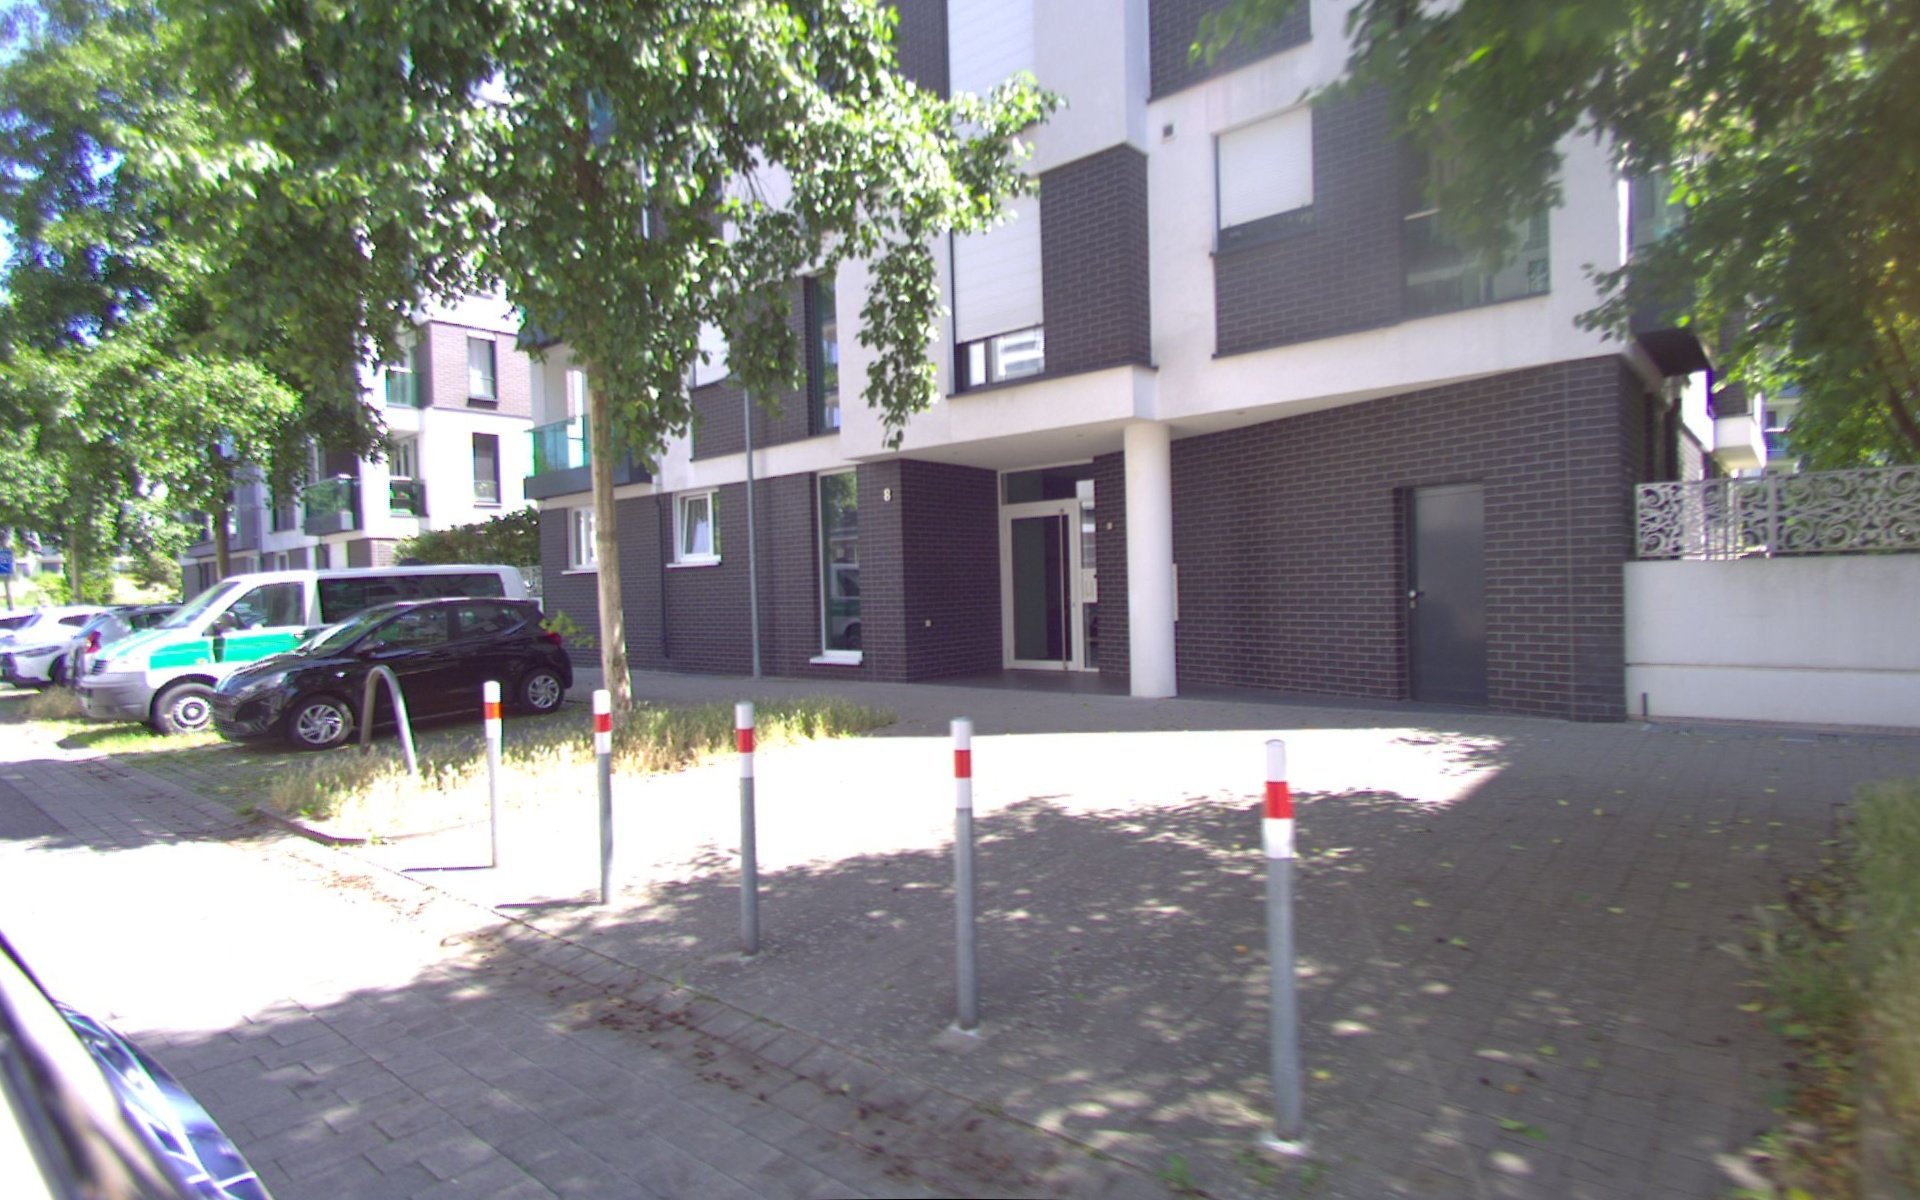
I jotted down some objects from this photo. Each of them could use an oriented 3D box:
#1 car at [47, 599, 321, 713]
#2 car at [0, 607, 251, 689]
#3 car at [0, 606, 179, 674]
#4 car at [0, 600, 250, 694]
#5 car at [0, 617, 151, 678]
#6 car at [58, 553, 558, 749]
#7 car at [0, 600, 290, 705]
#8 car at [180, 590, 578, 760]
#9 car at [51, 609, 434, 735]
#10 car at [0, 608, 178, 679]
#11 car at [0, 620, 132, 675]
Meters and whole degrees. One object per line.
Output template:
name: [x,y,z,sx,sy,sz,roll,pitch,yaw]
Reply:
car: [-14.195,0.936,18.649,1.850,1.688,3.643,-2,2,40]
car: [-19.873,1.067,23.874,1.828,1.467,4.801,-1,2,41]
car: [-25.574,1.118,28.742,2.039,1.644,4.981,-2,1,38]
car: [-18.155,0.950,22.123,1.949,1.641,3.938,-1,2,42]
car: [-27.456,1.431,30.248,1.825,1.460,4.773,-1,3,38]
car: [-8.527,0.516,13.696,2.187,2.126,5.285,-2,0,42]
car: [-16.347,0.946,20.189,1.962,1.605,4.519,-2,2,35]
car: [-6.549,0.725,11.707,1.676,1.492,3.587,-1,2,40]
car: [-10.749,0.967,15.451,1.998,1.501,4.378,-2,0,38]
car: [-23.634,1.141,26.824,1.819,1.542,4.212,-2,2,37]
car: [-29.541,1.512,31.870,1.925,1.496,5.050,-1,2,38]
